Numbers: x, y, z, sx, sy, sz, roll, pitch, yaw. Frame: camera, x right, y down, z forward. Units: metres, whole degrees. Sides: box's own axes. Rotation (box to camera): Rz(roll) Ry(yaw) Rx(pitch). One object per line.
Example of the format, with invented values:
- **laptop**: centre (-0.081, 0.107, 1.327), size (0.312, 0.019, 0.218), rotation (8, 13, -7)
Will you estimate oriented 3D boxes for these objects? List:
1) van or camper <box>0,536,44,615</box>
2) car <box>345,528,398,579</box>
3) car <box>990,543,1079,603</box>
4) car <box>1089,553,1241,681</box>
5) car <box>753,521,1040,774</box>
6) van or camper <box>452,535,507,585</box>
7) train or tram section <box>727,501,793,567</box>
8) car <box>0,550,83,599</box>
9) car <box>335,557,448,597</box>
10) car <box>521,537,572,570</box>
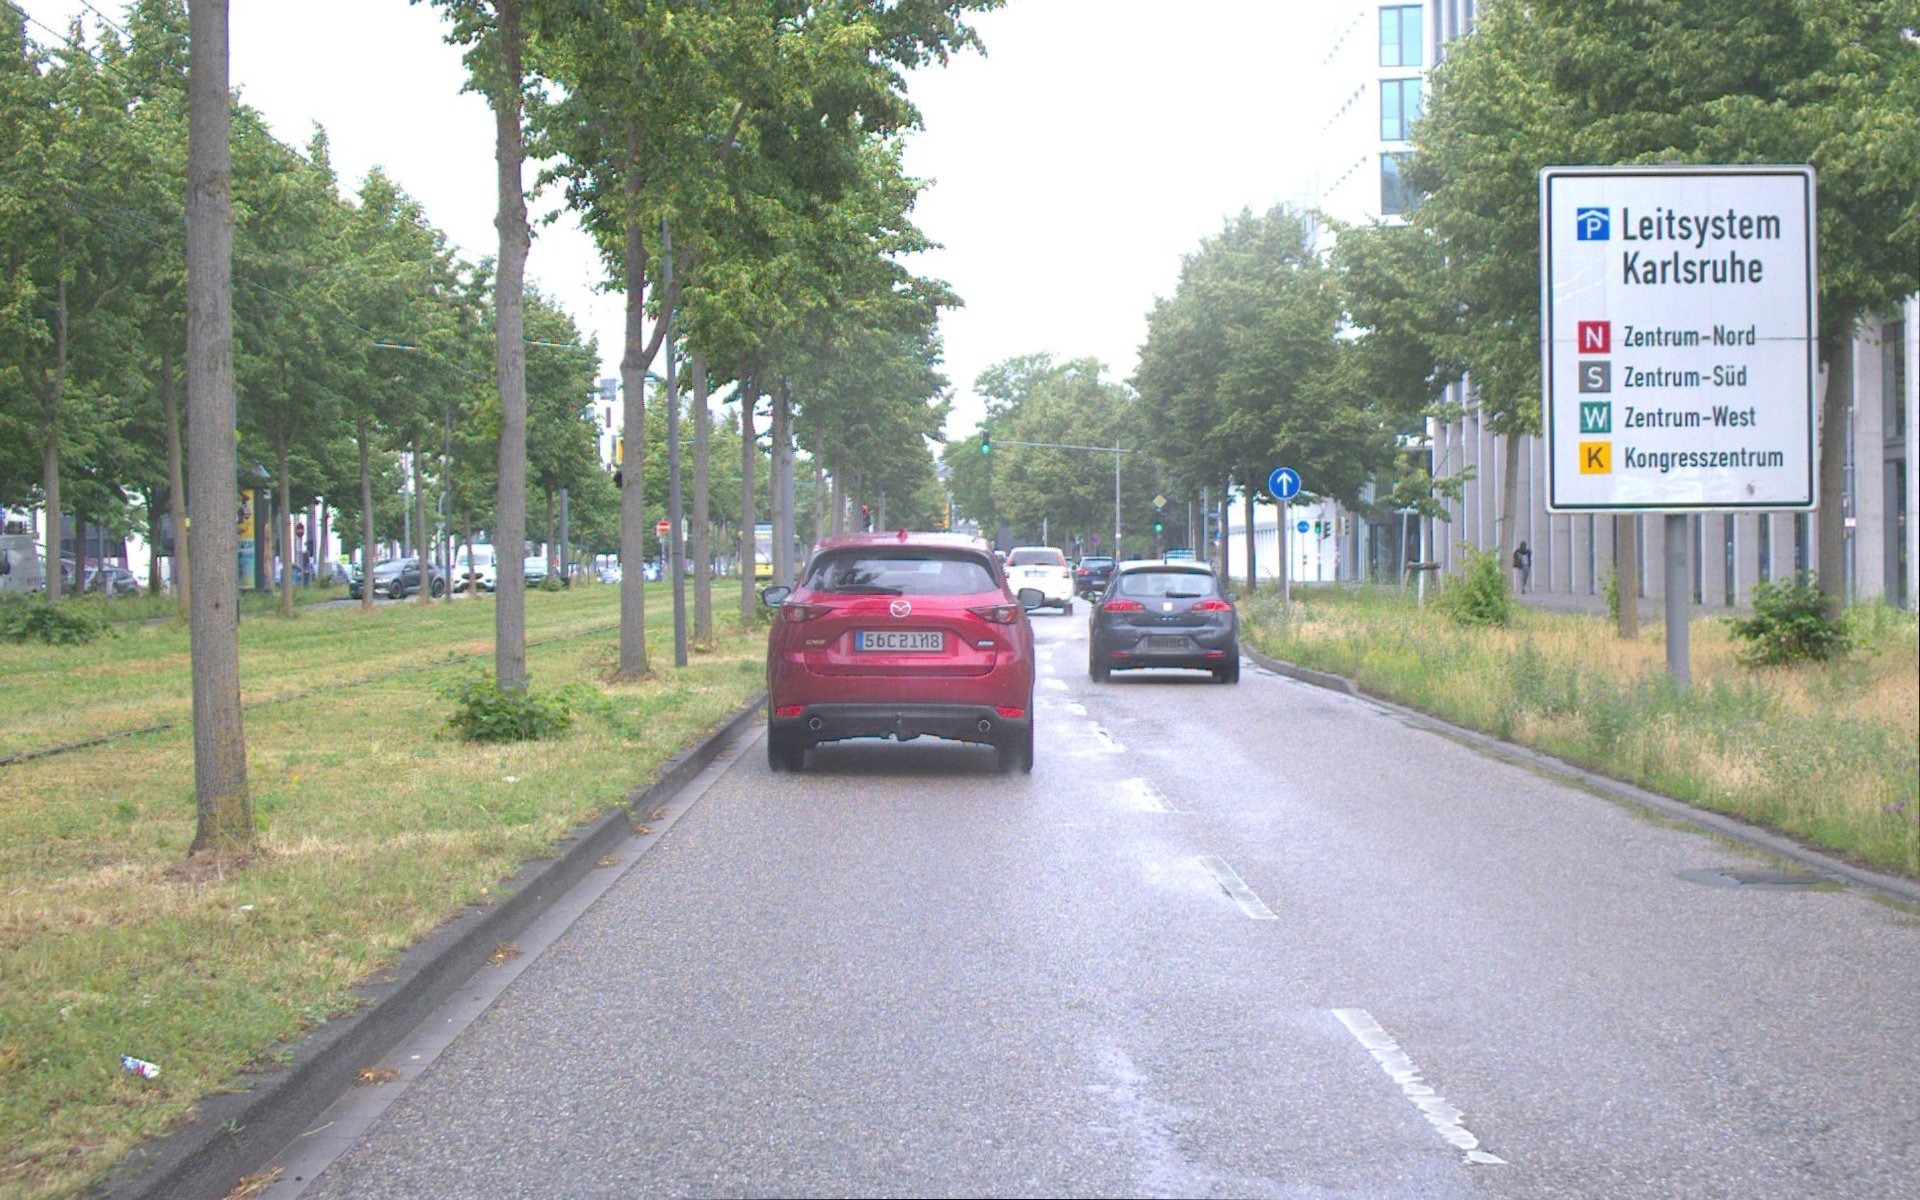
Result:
- **van or camper**: centre (-29.320, -0.742, 102.603), size (2.433, 2.307, 5.850), rotation (0, 1, 0)
- **car**: centre (-30.127, -2.396, 176.195), size (2.255, 2.553, 4.656), rotation (0, 1, -4)
- **car**: centre (1.828, -0.700, 86.131), size (1.967, 1.432, 4.553), rotation (1, 1, -2)
- **car**: centre (2.495, 0.174, 41.537), size (1.744, 1.460, 3.781), rotation (0, 1, 4)
- **car**: centre (-0.455, 0.283, 24.803), size (1.898, 1.671, 4.000), rotation (0, 1, -1)
- **van or camper**: centre (-23.342, -1.951, 167.286), size (1.909, 2.402, 5.402), rotation (0, 1, 0)
- **train or tram section**: centre (-11.477, -3.778, 198.213), size (3.129, 3.646, 13.407), rotation (0, 1, 0)
- **car**: centre (-29.311, -0.827, 108.957), size (1.993, 1.516, 4.607), rotation (0, 1, -2)
- **car**: centre (-22.089, -0.921, 133.766), size (1.996, 1.516, 4.675), rotation (0, 1, 26)
- **car**: centre (-19.296, -2.186, 160.601), size (1.863, 1.519, 4.479), rotation (0, 1, 0)
